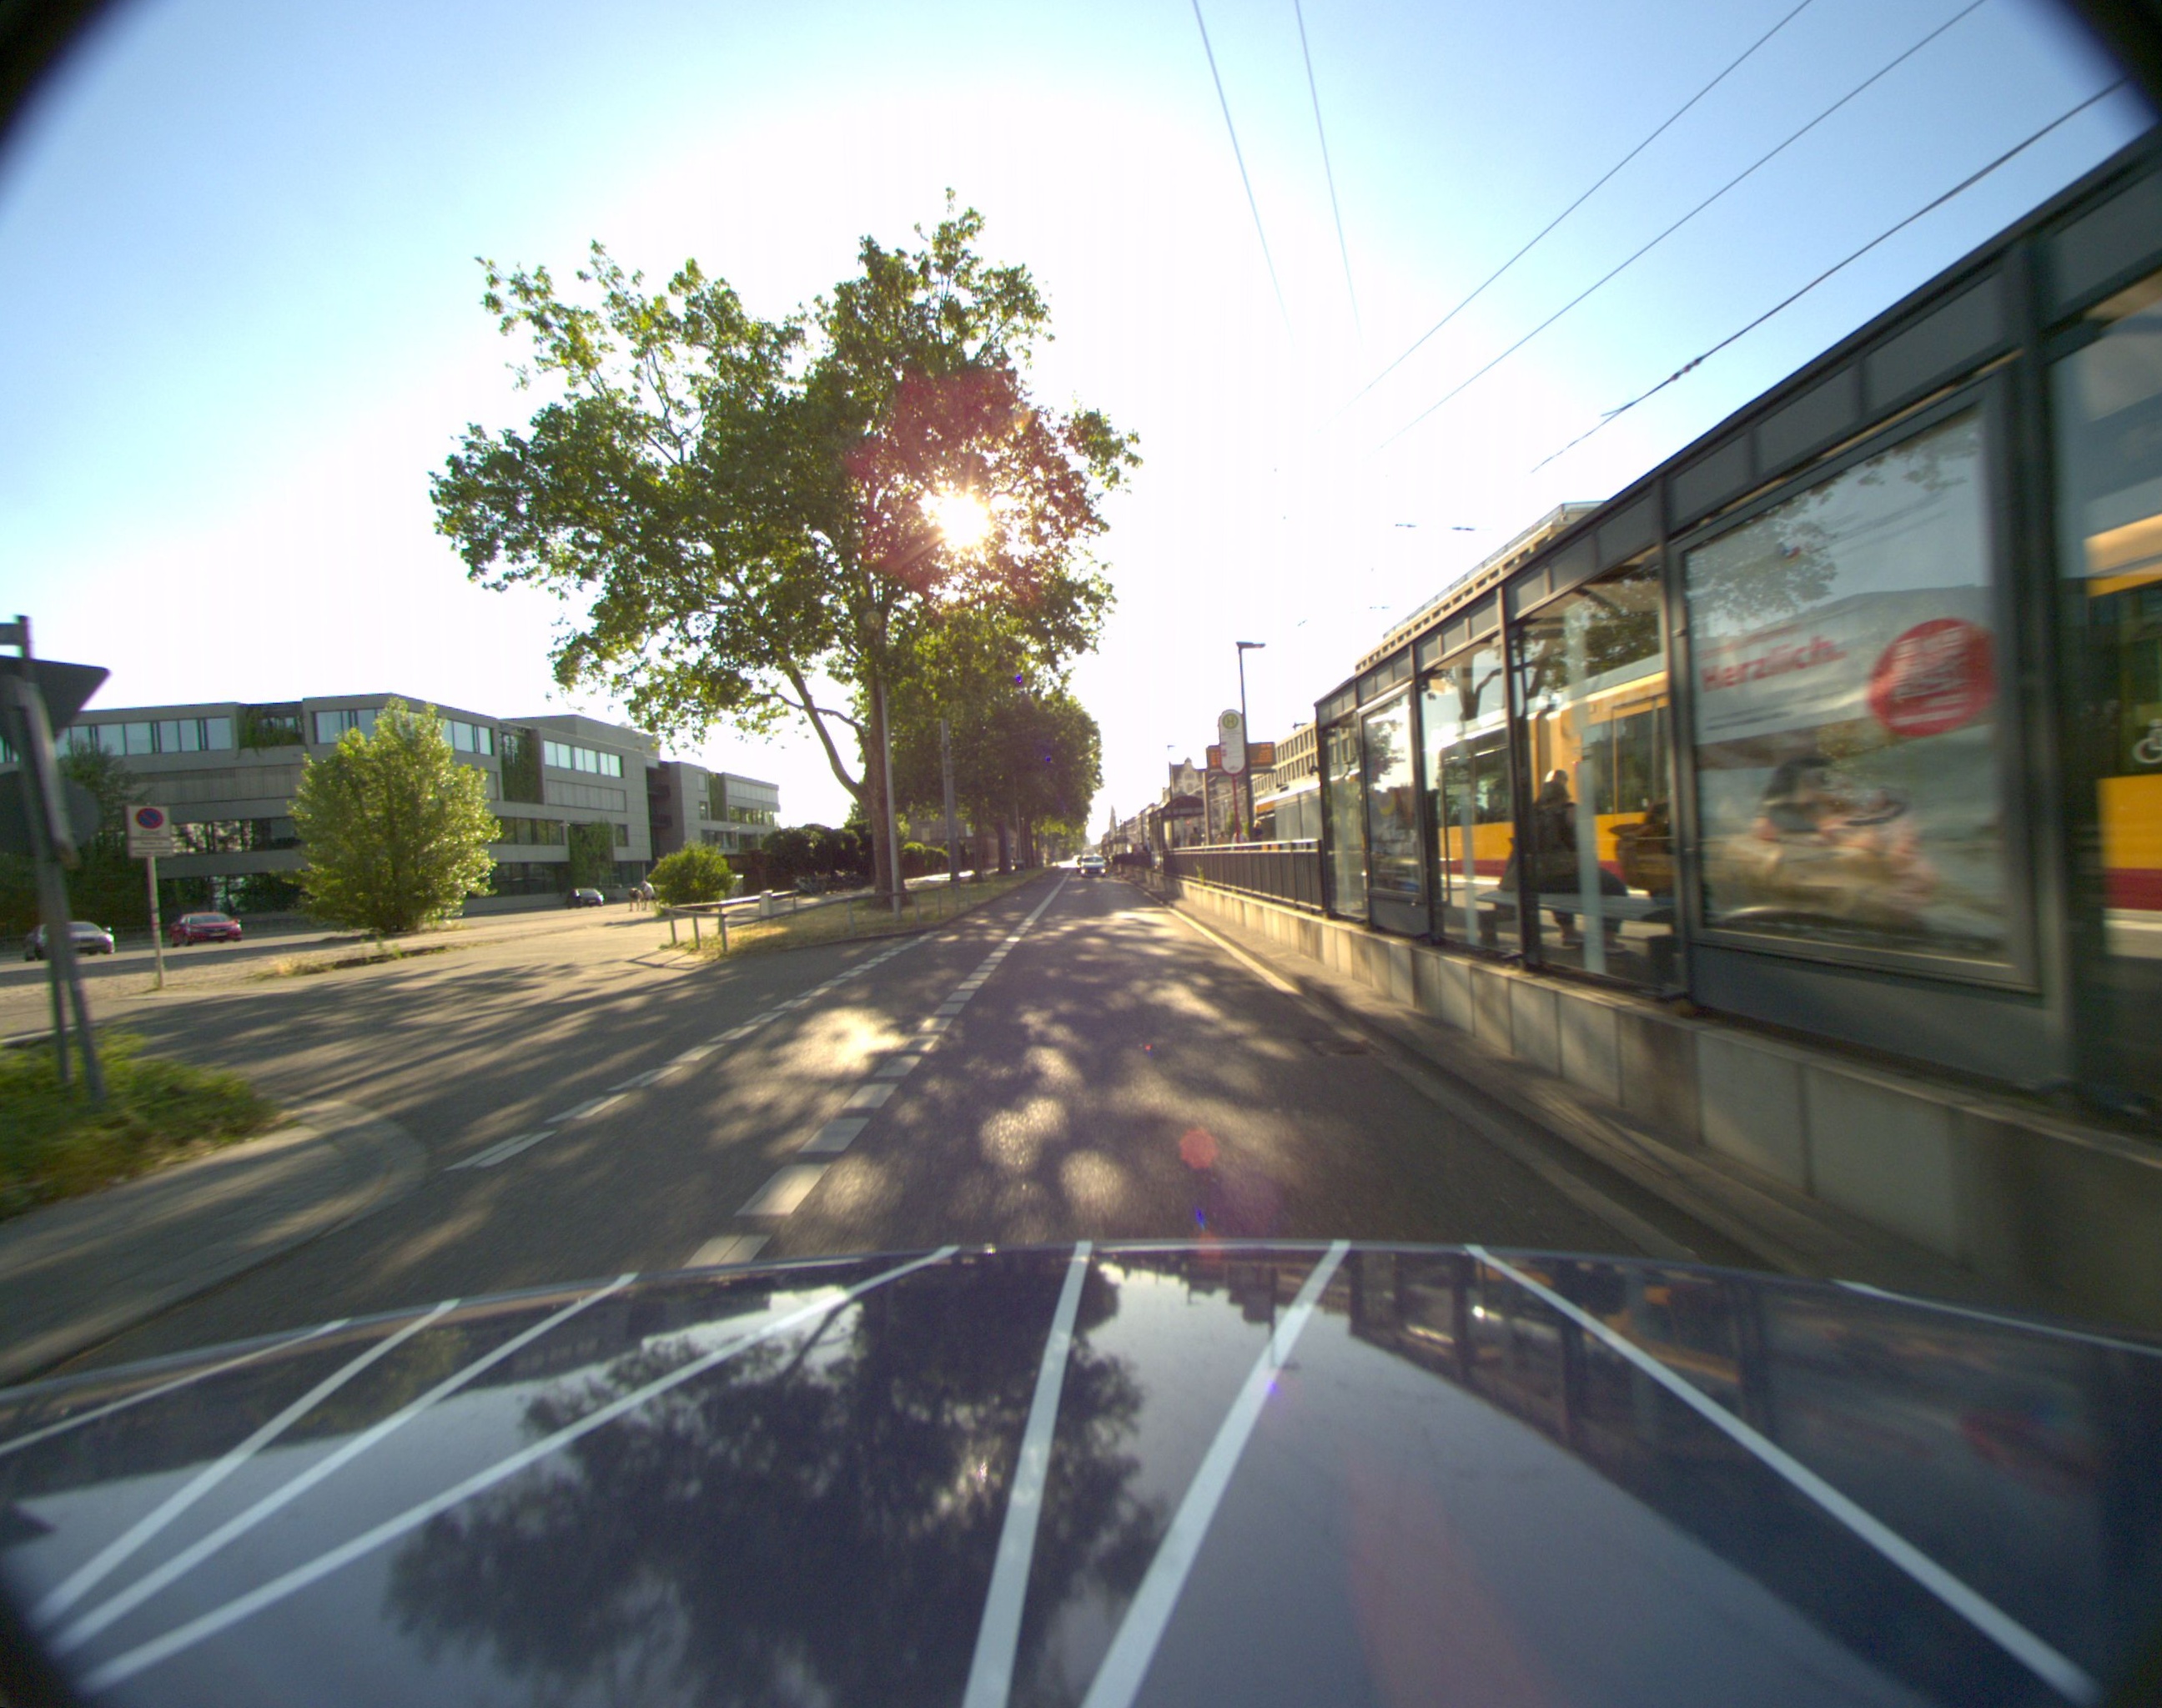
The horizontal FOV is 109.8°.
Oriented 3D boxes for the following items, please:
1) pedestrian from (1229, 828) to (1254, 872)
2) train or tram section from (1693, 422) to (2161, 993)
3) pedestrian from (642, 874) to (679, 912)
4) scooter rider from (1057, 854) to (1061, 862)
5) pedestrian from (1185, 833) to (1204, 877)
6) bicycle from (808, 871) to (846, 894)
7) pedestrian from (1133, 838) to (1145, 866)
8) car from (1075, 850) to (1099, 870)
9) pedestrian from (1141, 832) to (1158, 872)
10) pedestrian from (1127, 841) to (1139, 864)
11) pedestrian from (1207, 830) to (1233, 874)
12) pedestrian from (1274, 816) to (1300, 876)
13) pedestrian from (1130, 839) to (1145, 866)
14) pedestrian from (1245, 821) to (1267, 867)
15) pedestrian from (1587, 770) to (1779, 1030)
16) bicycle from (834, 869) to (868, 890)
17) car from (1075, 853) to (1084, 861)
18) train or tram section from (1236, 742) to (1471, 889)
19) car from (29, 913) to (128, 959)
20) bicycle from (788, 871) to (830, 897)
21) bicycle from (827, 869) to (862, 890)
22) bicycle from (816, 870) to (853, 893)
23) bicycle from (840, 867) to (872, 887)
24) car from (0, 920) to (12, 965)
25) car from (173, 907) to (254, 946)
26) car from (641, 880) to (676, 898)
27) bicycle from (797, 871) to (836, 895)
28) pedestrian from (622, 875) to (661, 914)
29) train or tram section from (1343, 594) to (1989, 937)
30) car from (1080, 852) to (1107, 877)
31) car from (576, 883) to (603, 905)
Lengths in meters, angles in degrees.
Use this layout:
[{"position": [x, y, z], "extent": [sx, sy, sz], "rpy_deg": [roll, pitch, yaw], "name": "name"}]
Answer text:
[{"position": [6.741, -0.163, 31.945], "extent": [0.795, 1.774, 0.625], "rpy_deg": [-4, 1, 0], "name": "pedestrian"}, {"position": [8.915, -1.053, 2.977], "extent": [3.317, 3.807, 11.842], "rpy_deg": [-4, 0, 0], "name": "train or tram section"}, {"position": [-24.124, 2.214, 43.598], "extent": [1.394, 2.002, 1.049], "rpy_deg": [-4, 1, 13], "name": "pedestrian"}, {"position": [-4.404, 0.807, 153.816], "extent": [0.703, 1.389, 0.599], "rpy_deg": [-4, 1, 0], "name": "scooter rider"}, {"position": [4.743, 0.038, 31.823], "extent": [0.611, 1.774, 0.681], "rpy_deg": [-4, 1, 0], "name": "pedestrian"}, {"position": [-13.155, 1.461, 39.389], "extent": [1.778, 1.114, 0.439], "rpy_deg": [-2, 1, -1], "name": "bicycle"}, {"position": [3.616, -0.121, 47.445], "extent": [0.613, 1.659, 0.613], "rpy_deg": [-4, 1, 2], "name": "pedestrian"}, {"position": [0.566, 0.515, 65.375], "extent": [1.648, 1.555, 3.667], "rpy_deg": [-5, 0, 5], "name": "car"}, {"position": [3.159, -0.079, 34.888], "extent": [0.613, 1.774, 0.613], "rpy_deg": [-4, 1, 1], "name": "pedestrian"}, {"position": [3.644, -0.090, 53.067], "extent": [0.615, 1.540, 0.725], "rpy_deg": [-4, 1, 11], "name": "pedestrian"}, {"position": [5.839, -0.095, 31.917], "extent": [0.796, 1.774, 0.647], "rpy_deg": [-4, 1, -40], "name": "pedestrian"}, {"position": [6.641, -0.254, 24.473], "extent": [0.554, 1.894, 0.644], "rpy_deg": [-4, 1, 0], "name": "pedestrian"}, {"position": [3.428, -0.102, 46.366], "extent": [0.614, 1.633, 0.612], "rpy_deg": [-4, 1, -19], "name": "pedestrian"}, {"position": [6.999, -0.405, 30.460], "extent": [0.613, 1.774, 0.775], "rpy_deg": [-4, 1, 0], "name": "pedestrian"}, {"position": [3.229, 0.237, 4.114], "extent": [0.568, 1.285, 0.500], "rpy_deg": [-4, 1, 0], "name": "pedestrian"}, {"position": [-13.208, 1.450, 43.683], "extent": [1.778, 1.114, 0.439], "rpy_deg": [-2, 1, -1], "name": "bicycle"}, {"position": [-0.394, 0.602, 164.360], "extent": [1.833, 1.645, 3.999], "rpy_deg": [-4, 1, 0], "name": "car"}, {"position": [8.920, -1.086, 27.926], "extent": [3.317, 3.807, 14.217], "rpy_deg": [-4, 0, 0], "name": "train or tram section"}, {"position": [-41.466, 3.364, 31.413], "extent": [4.355, 1.580, 2.003], "rpy_deg": [-3, 1, 32], "name": "car"}, {"position": [-12.969, 1.421, 36.217], "extent": [1.778, 1.114, 0.439], "rpy_deg": [-2, 1, -7], "name": "bicycle"}, {"position": [-13.295, 1.448, 42.733], "extent": [1.778, 1.114, 0.439], "rpy_deg": [-2, 1, -1], "name": "bicycle"}, {"position": [-13.142, 1.463, 40.600], "extent": [1.778, 1.114, 0.439], "rpy_deg": [-2, 1, -1], "name": "bicycle"}, {"position": [-13.204, 1.367, 44.649], "extent": [1.692, 1.114, 0.439], "rpy_deg": [-2, 1, -1], "name": "bicycle"}, {"position": [-41.514, 3.363, 28.212], "extent": [4.355, 1.602, 1.863], "rpy_deg": [-3, 1, 33], "name": "car"}, {"position": [-41.535, 3.446, 36.348], "extent": [4.355, 1.602, 1.886], "rpy_deg": [-3, 1, 33], "name": "car"}, {"position": [-41.482, 3.452, 74.631], "extent": [3.656, 1.512, 1.653], "rpy_deg": [-3, 1, 39], "name": "car"}, {"position": [-13.387, 1.469, 38.469], "extent": [1.778, 1.114, 0.439], "rpy_deg": [-2, 1, -1], "name": "bicycle"}, {"position": [-24.376, 2.249, 42.158], "extent": [1.394, 2.002, 1.049], "rpy_deg": [-4, 1, 13], "name": "pedestrian"}, {"position": [8.921, -1.062, 14.841], "extent": [3.317, 3.807, 11.842], "rpy_deg": [-4, 0, 0], "name": "train or tram section"}, {"position": [0.837, 0.694, 52.377], "extent": [1.649, 1.555, 3.665], "rpy_deg": [-4, 0, 0], "name": "car"}, {"position": [-40.881, 3.314, 63.176], "extent": [1.652, 1.655, 3.657], "rpy_deg": [-4, 1, -34], "name": "car"}]
